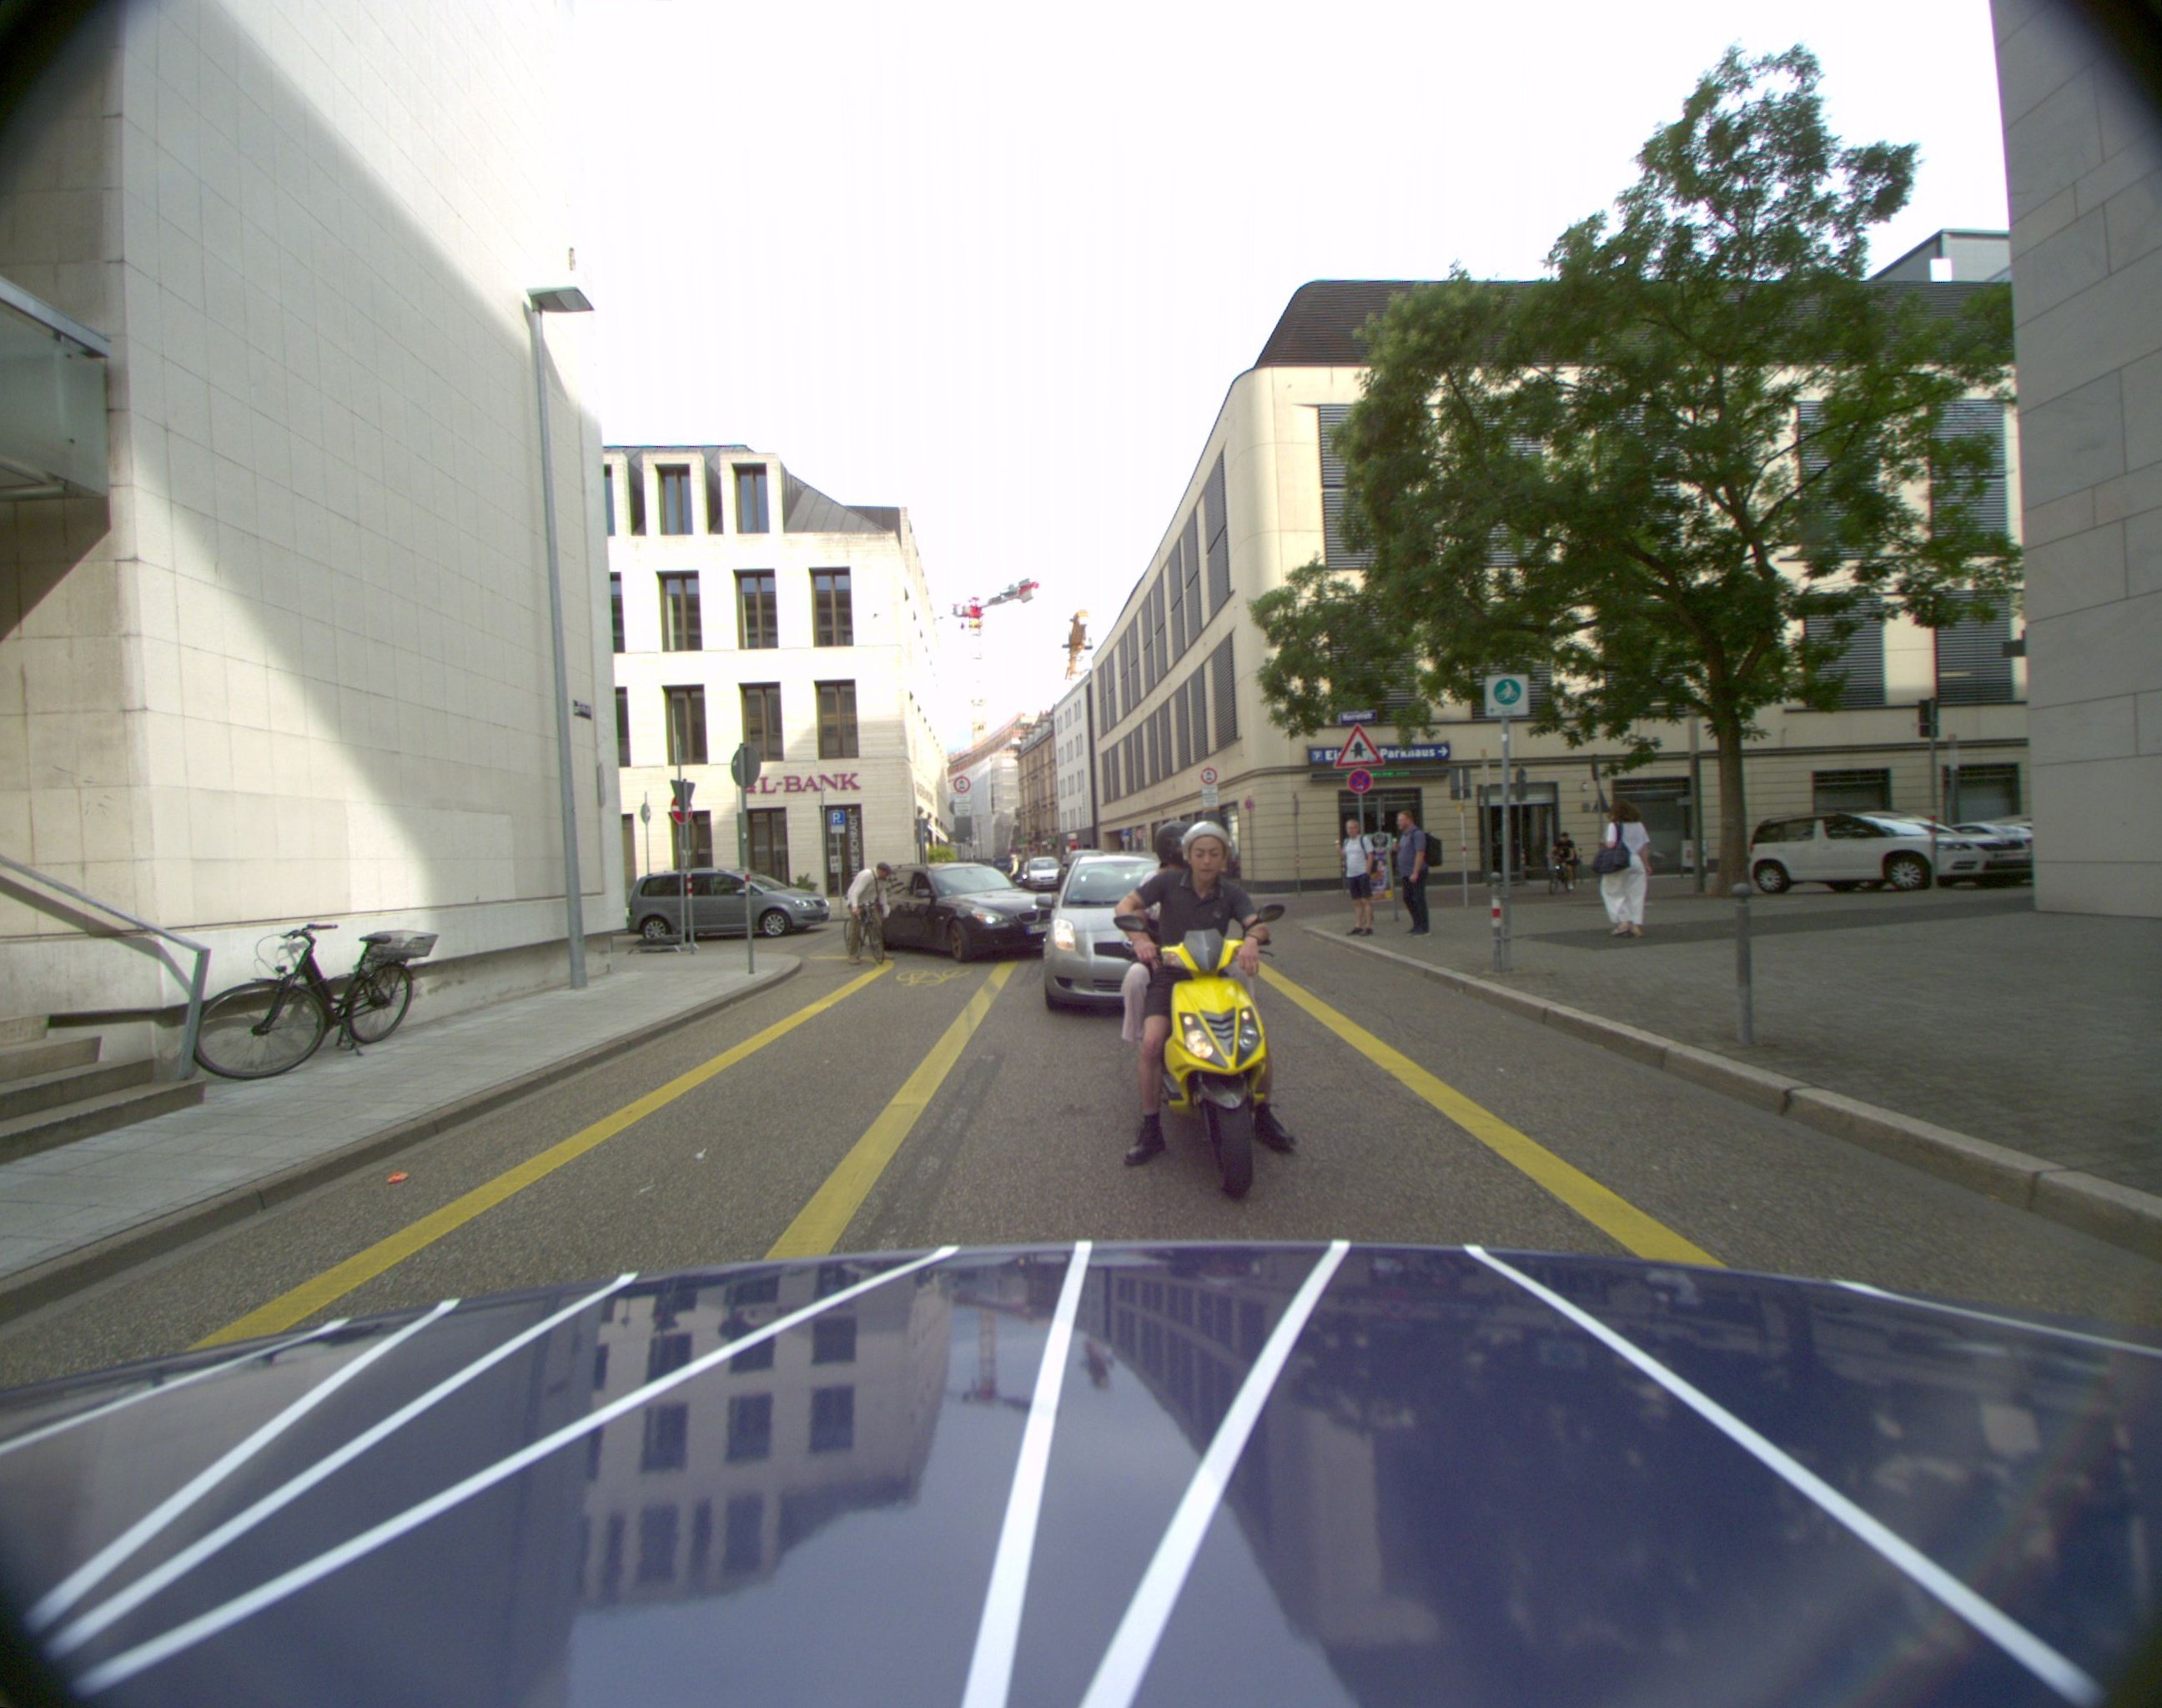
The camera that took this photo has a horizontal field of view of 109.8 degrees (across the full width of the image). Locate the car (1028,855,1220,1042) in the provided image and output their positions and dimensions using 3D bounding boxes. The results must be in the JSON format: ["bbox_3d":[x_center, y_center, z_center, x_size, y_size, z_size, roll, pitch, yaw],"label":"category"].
[{"bbox_3d":[0.428,0.807,8.358,1.562,1.482,3.784,-3,1,2],"label":"car"}]

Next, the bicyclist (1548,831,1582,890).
[{"bbox_3d":[13.770,0.177,21.604,0.621,1.609,0.645,-5,0,40],"label":"bicyclist"}]

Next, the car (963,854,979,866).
[{"bbox_3d":[-14.236,0.760,98.075,1.590,1.477,3.994,-2,1,-15],"label":"car"}]

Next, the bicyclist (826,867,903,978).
[{"bbox_3d":[-3.374,1.019,11.802,0.894,1.585,0.875,-3,1,-30],"label":"bicyclist"}]

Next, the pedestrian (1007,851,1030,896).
[{"bbox_3d":[-2.628,0.789,31.823,0.861,1.820,0.773,-2,1,-3],"label":"pedestrian"}]

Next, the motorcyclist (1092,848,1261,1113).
[{"bbox_3d":[0.528,0.694,4.521,0.903,1.445,0.742,-1,0,1],"label":"motorcyclist"}]

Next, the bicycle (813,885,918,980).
[{"bbox_3d":[-3.475,1.152,12.003,0.872,1.188,2.857,-3,1,-30],"label":"bicycle"}]

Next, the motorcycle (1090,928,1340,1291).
[{"bbox_3d":[0.525,1.071,3.929,0.929,1.158,2.127,-1,0,1],"label":"motorcycle"}]

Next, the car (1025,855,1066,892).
[{"bbox_3d":[-1.744,0.888,35.927,1.563,1.547,4.100,-3,1,-7],"label":"car"}]

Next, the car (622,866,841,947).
[{"bbox_3d":[-8.017,1.171,17.735,4.193,1.581,1.814,-2,1,-2],"label":"car"}]

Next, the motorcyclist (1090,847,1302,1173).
[{"bbox_3d":[0.519,0.697,3.910,0.924,1.445,1.065,-1,0,1],"label":"motorcyclist"}]

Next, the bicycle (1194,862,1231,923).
[{"bbox_3d":[2.909,0.814,16.940,0.648,1.233,1.953,0,1,5],"label":"bicycle"}]

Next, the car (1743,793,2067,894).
[{"bbox_3d":[15.906,-0.081,15.049,1.899,1.682,3.964,-2,-3,-3],"label":"car"}]

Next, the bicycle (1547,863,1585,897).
[{"bbox_3d":[13.747,0.729,21.519,0.600,0.829,1.728,-7,-2,41],"label":"bicycle"}]

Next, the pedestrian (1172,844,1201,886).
[{"bbox_3d":[4.637,0.474,33.407,0.892,1.755,1.060,-6,1,-6],"label":"pedestrian"}]

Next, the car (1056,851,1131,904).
[{"bbox_3d":[0.315,0.687,24.359,1.710,1.482,4.100,-3,1,-8],"label":"car"}]

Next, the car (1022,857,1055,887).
[{"bbox_3d":[-2.414,0.977,42.370,1.589,1.477,3.997,-2,1,-6],"label":"car"}]

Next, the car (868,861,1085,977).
[{"bbox_3d":[-1.811,0.922,12.227,1.720,1.482,3.755,-3,1,-38],"label":"car"}]

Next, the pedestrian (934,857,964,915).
[{"bbox_3d":[-4.320,1.022,24.843,0.774,1.820,0.860,-3,1,-20],"label":"pedestrian"}]

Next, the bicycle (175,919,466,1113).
[{"bbox_3d":[-6.029,1.204,6.204,0.590,1.160,1.814,-2,1,-4],"label":"bicycle"}]

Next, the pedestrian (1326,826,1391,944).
[{"bbox_3d":[4.300,0.466,11.803,0.644,1.755,0.653,-3,1,-11],"label":"pedestrian"}]

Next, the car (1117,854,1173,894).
[{"bbox_3d":[2.712,0.803,33.118,1.563,1.547,4.100,-3,1,-7],"label":"car"}]

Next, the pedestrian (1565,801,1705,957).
[{"bbox_3d":[6.610,0.276,9.121,0.879,1.699,0.910,-6,1,0],"label":"pedestrian"}]

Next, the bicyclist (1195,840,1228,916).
[{"bbox_3d":[2.902,0.518,16.929,0.644,1.644,0.940,0,1,5],"label":"bicyclist"}]

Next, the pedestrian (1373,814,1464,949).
[{"bbox_3d":[4.854,0.379,10.961,0.745,1.804,0.756,-6,1,-11],"label":"pedestrian"}]
